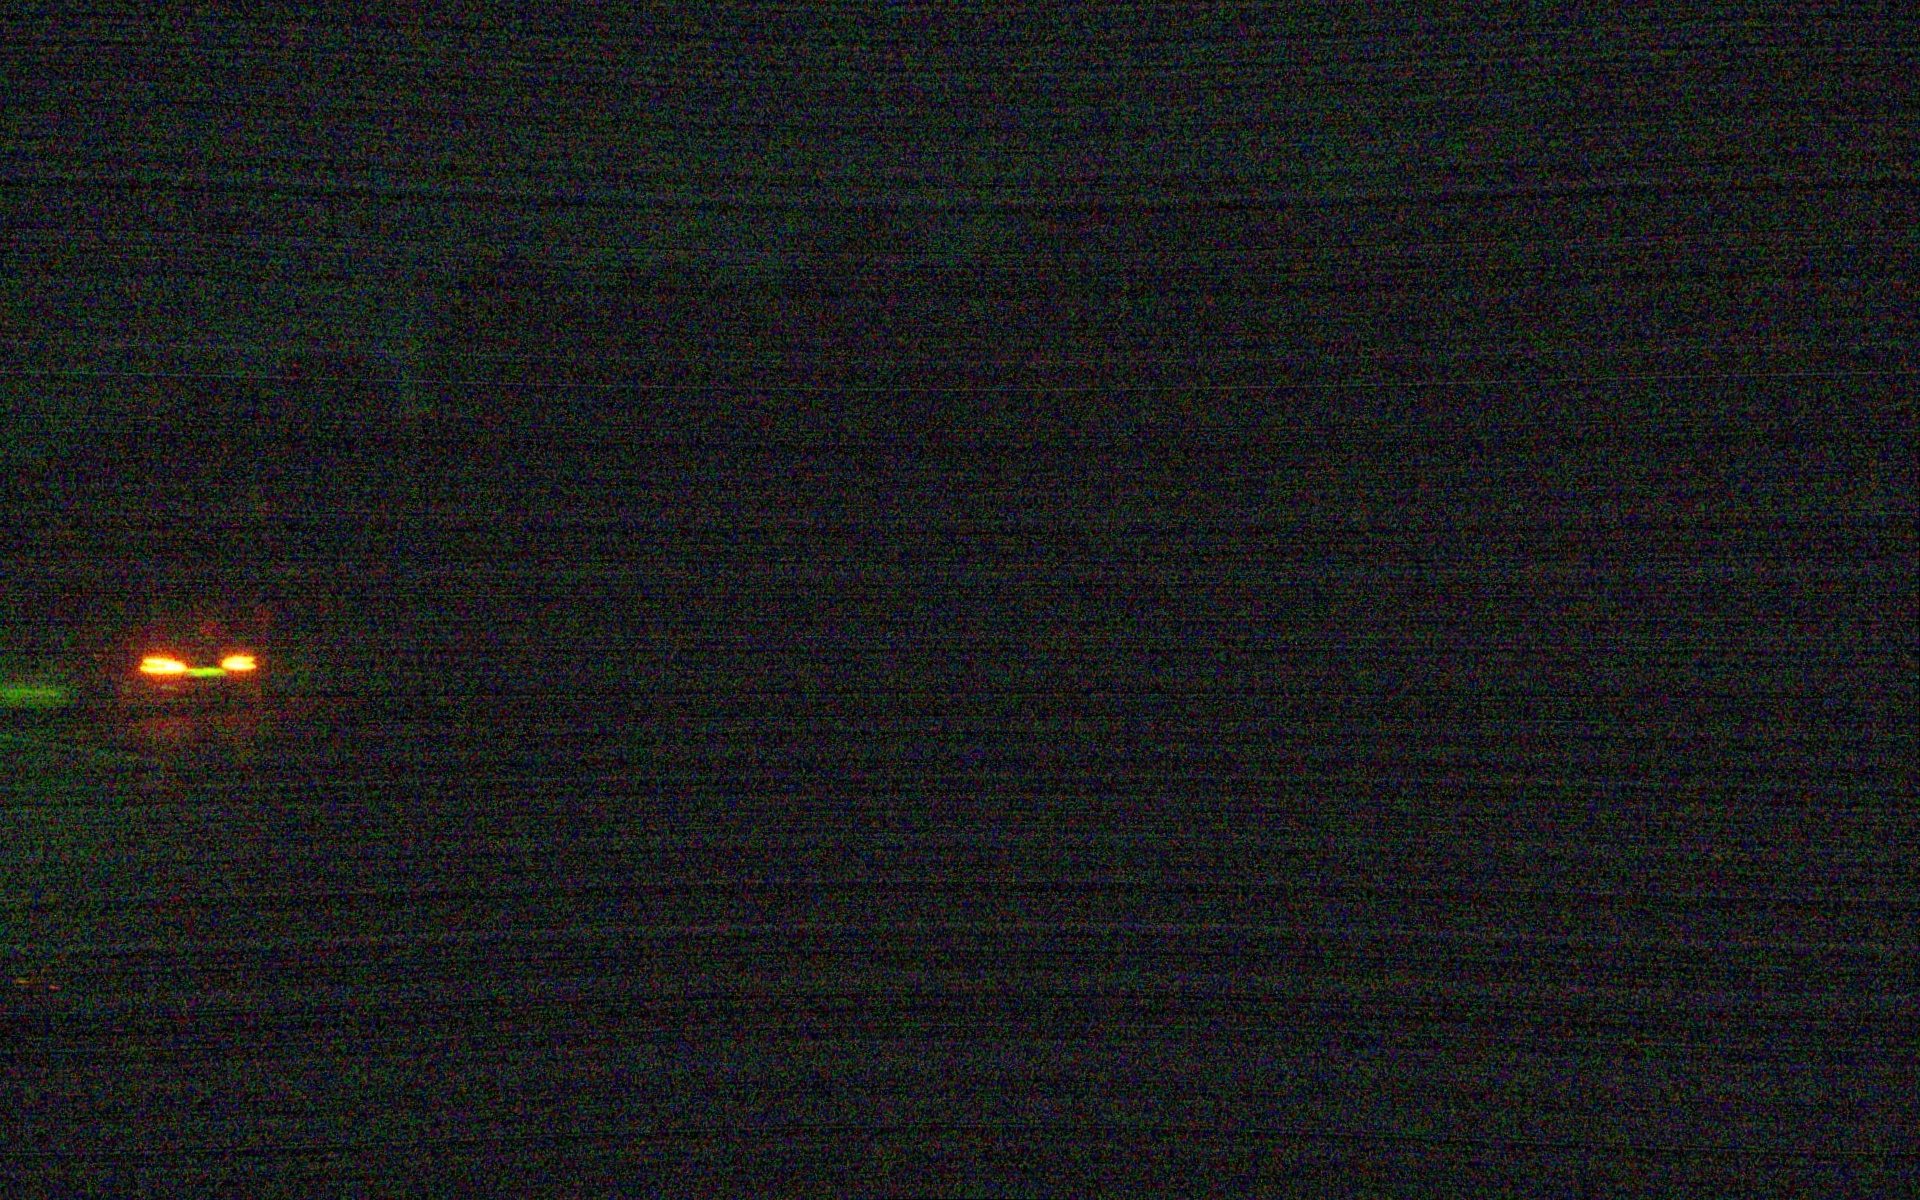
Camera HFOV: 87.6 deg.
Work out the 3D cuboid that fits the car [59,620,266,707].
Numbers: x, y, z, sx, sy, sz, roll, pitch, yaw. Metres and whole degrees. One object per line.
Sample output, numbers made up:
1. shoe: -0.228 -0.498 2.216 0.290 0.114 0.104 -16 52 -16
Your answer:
1. car: -15.245 1.148 19.095 4.187 1.485 1.818 -1 -2 32
